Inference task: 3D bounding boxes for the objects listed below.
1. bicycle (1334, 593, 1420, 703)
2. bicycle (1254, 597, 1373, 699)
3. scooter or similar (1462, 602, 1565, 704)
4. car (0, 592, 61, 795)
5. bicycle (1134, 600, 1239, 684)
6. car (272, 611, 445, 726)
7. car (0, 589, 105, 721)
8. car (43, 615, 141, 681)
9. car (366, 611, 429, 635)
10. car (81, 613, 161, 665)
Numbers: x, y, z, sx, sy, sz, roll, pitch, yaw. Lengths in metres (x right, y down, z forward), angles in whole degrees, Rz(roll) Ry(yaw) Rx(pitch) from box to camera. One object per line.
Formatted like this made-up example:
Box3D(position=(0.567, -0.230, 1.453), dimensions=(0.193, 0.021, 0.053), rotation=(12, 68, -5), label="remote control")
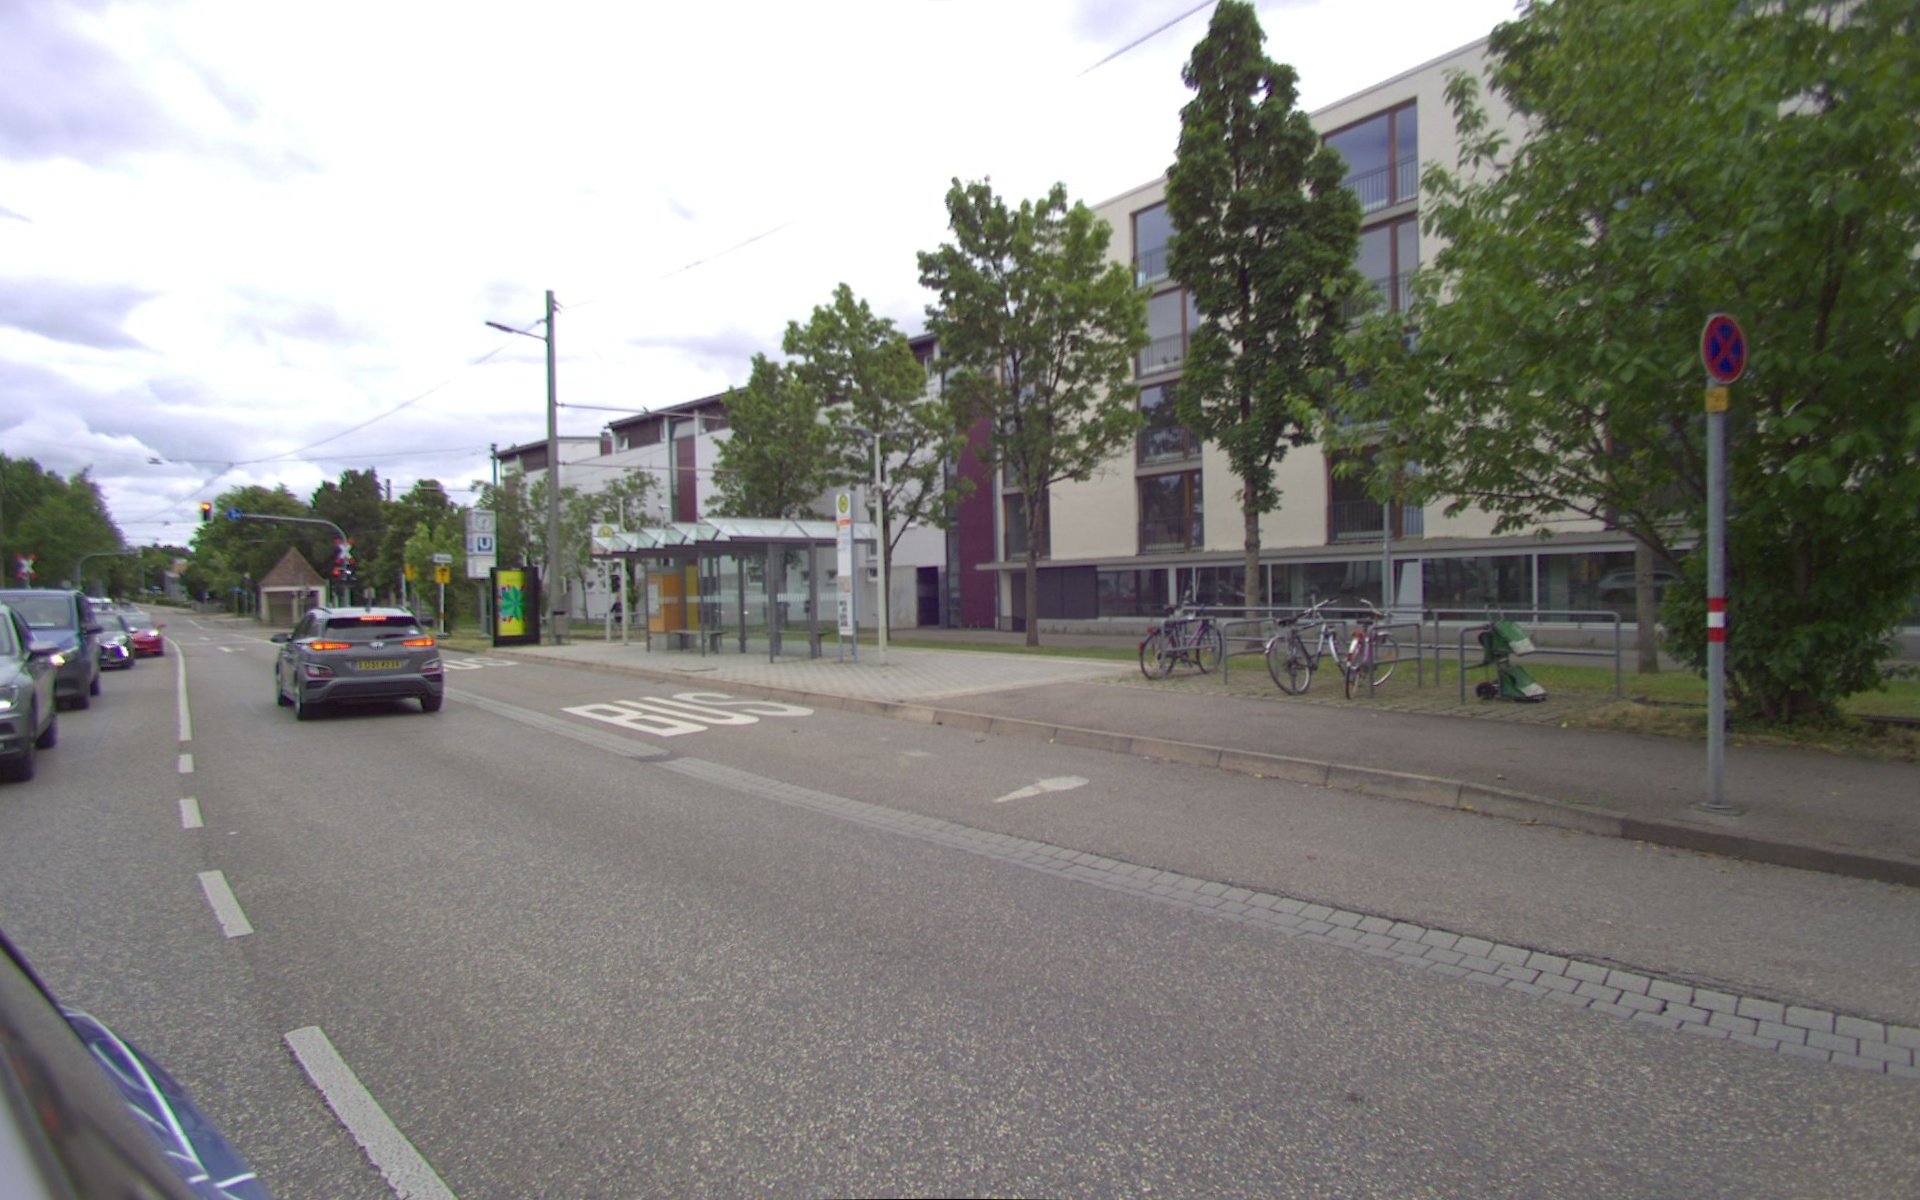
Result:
Box3D(position=(4.756, 0.504, 11.474), dimensions=(0.407, 1.097, 1.688), rotation=(-2, 1, 39), label="bicycle")
Box3D(position=(4.217, 0.537, 12.024), dimensions=(1.726, 1.054, 0.409), rotation=(-4, 1, -37), label="bicycle")
Box3D(position=(5.871, 0.539, 10.733), dimensions=(0.774, 1.017, 0.778), rotation=(-1, 0, 44), label="scooter or similar")
Box3D(position=(-9.834, 0.808, 9.503), dimensions=(1.783, 1.659, 4.339), rotation=(-2, 0, -38), label="car")
Box3D(position=(3.159, 0.554, 14.028), dimensions=(1.665, 1.032, 0.397), rotation=(-4, 1, -37), label="bicycle")
Box3D(position=(-9.132, 0.933, 15.212), dimensions=(1.745, 1.490, 4.008), rotation=(1, -1, -38), label="car")
Box3D(position=(-14.938, 0.813, 16.129), dimensions=(1.821, 1.875, 4.008), rotation=(-1, 0, -38), label="car")
Box3D(position=(-22.822, 1.203, 26.559), dimensions=(1.823, 1.546, 4.005), rotation=(-1, 0, -42), label="car")
Box3D(position=(-43.964, 1.766, 79.155), dimensions=(3.938, 1.719, 1.931), rotation=(-2, 0, -42), label="car")
Box3D(position=(-27.201, 1.208, 32.774), dimensions=(1.823, 1.546, 4.005), rotation=(-1, 0, -42), label="car")
